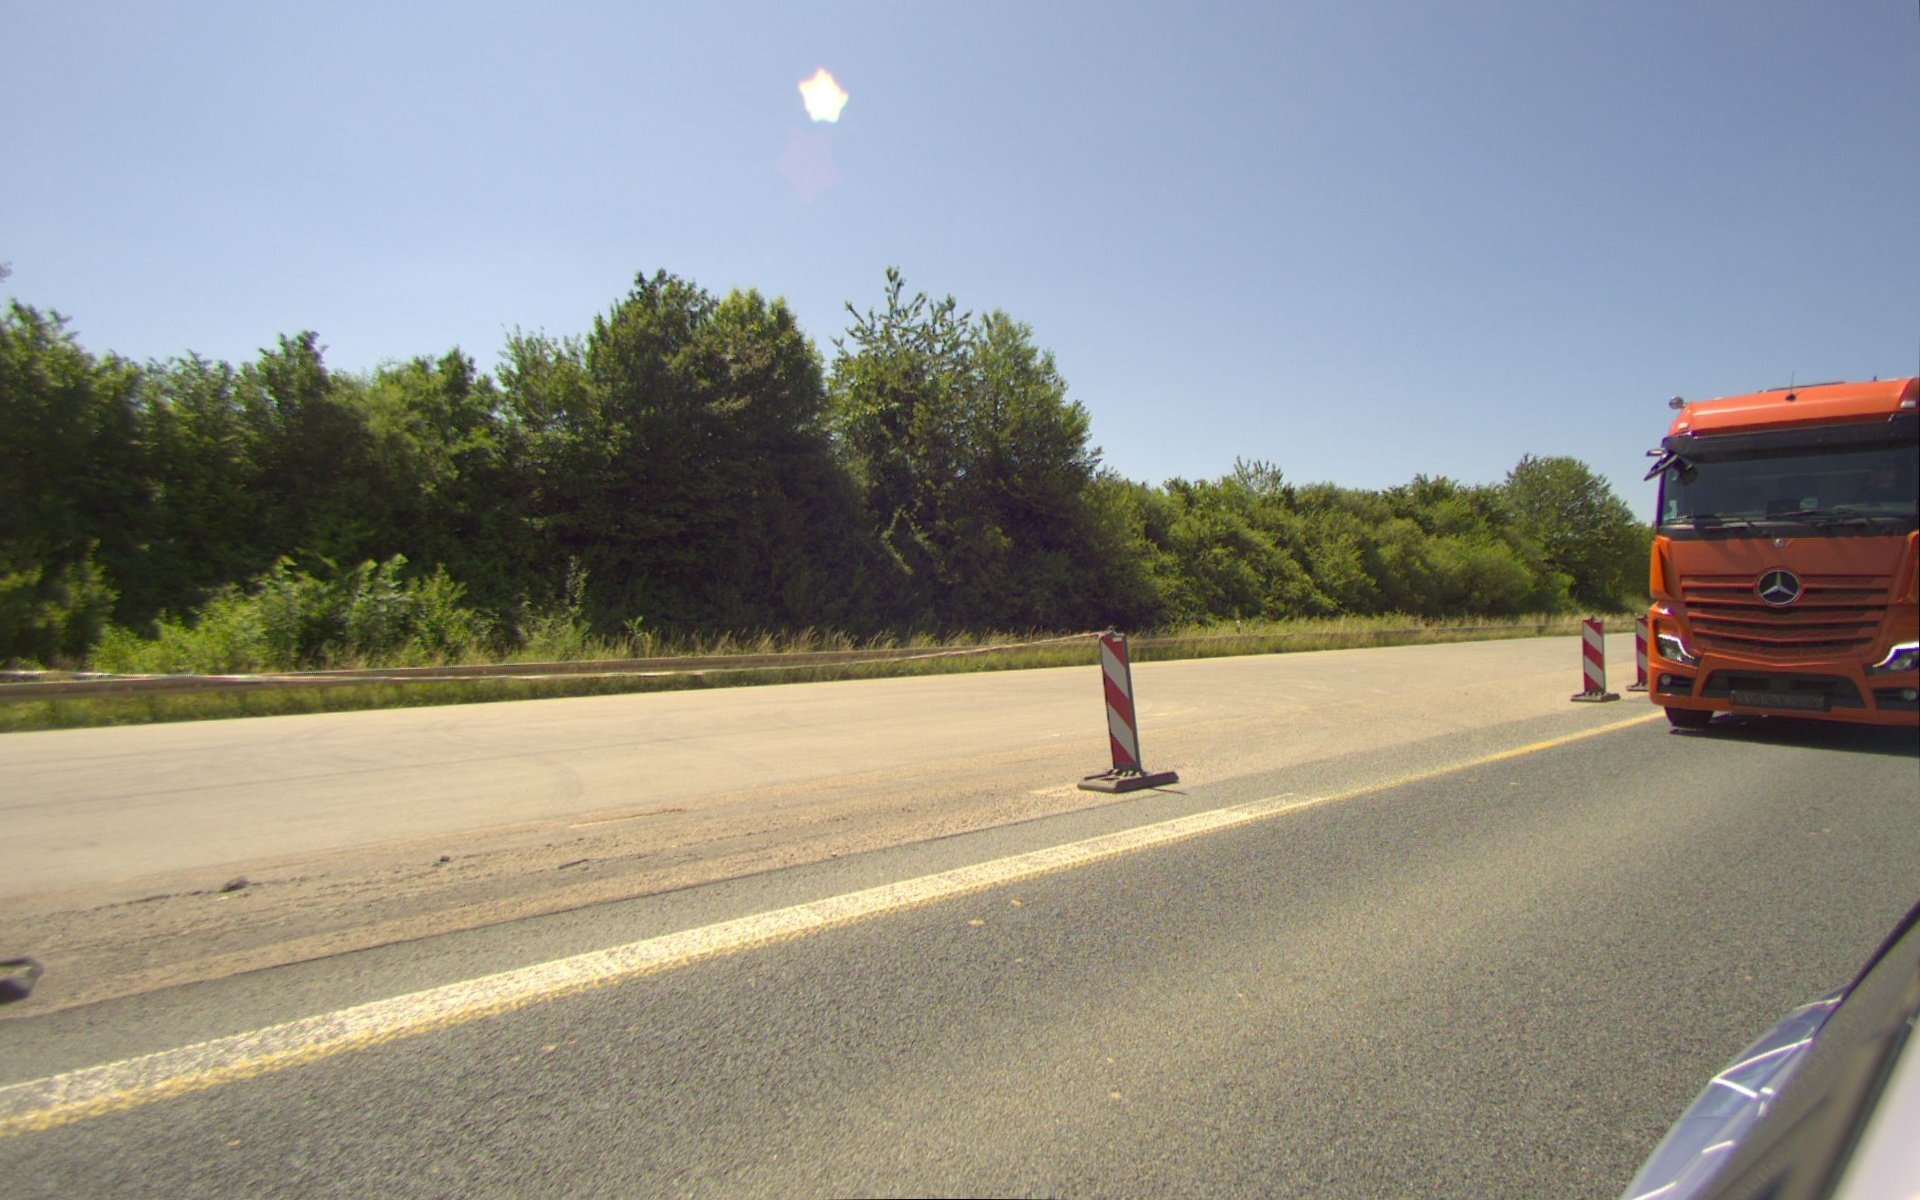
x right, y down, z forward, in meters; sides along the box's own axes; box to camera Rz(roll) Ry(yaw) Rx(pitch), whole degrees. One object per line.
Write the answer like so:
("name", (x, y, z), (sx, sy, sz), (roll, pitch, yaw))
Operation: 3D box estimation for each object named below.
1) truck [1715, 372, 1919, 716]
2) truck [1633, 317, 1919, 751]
("truck", (15.819, -0.743, 16.723), (12.989, 4.060, 2.687), (-1, 1, -41))
("truck", (10.860, -0.659, 12.376), (6.607, 4.060, 2.687), (-1, 0, -41))
